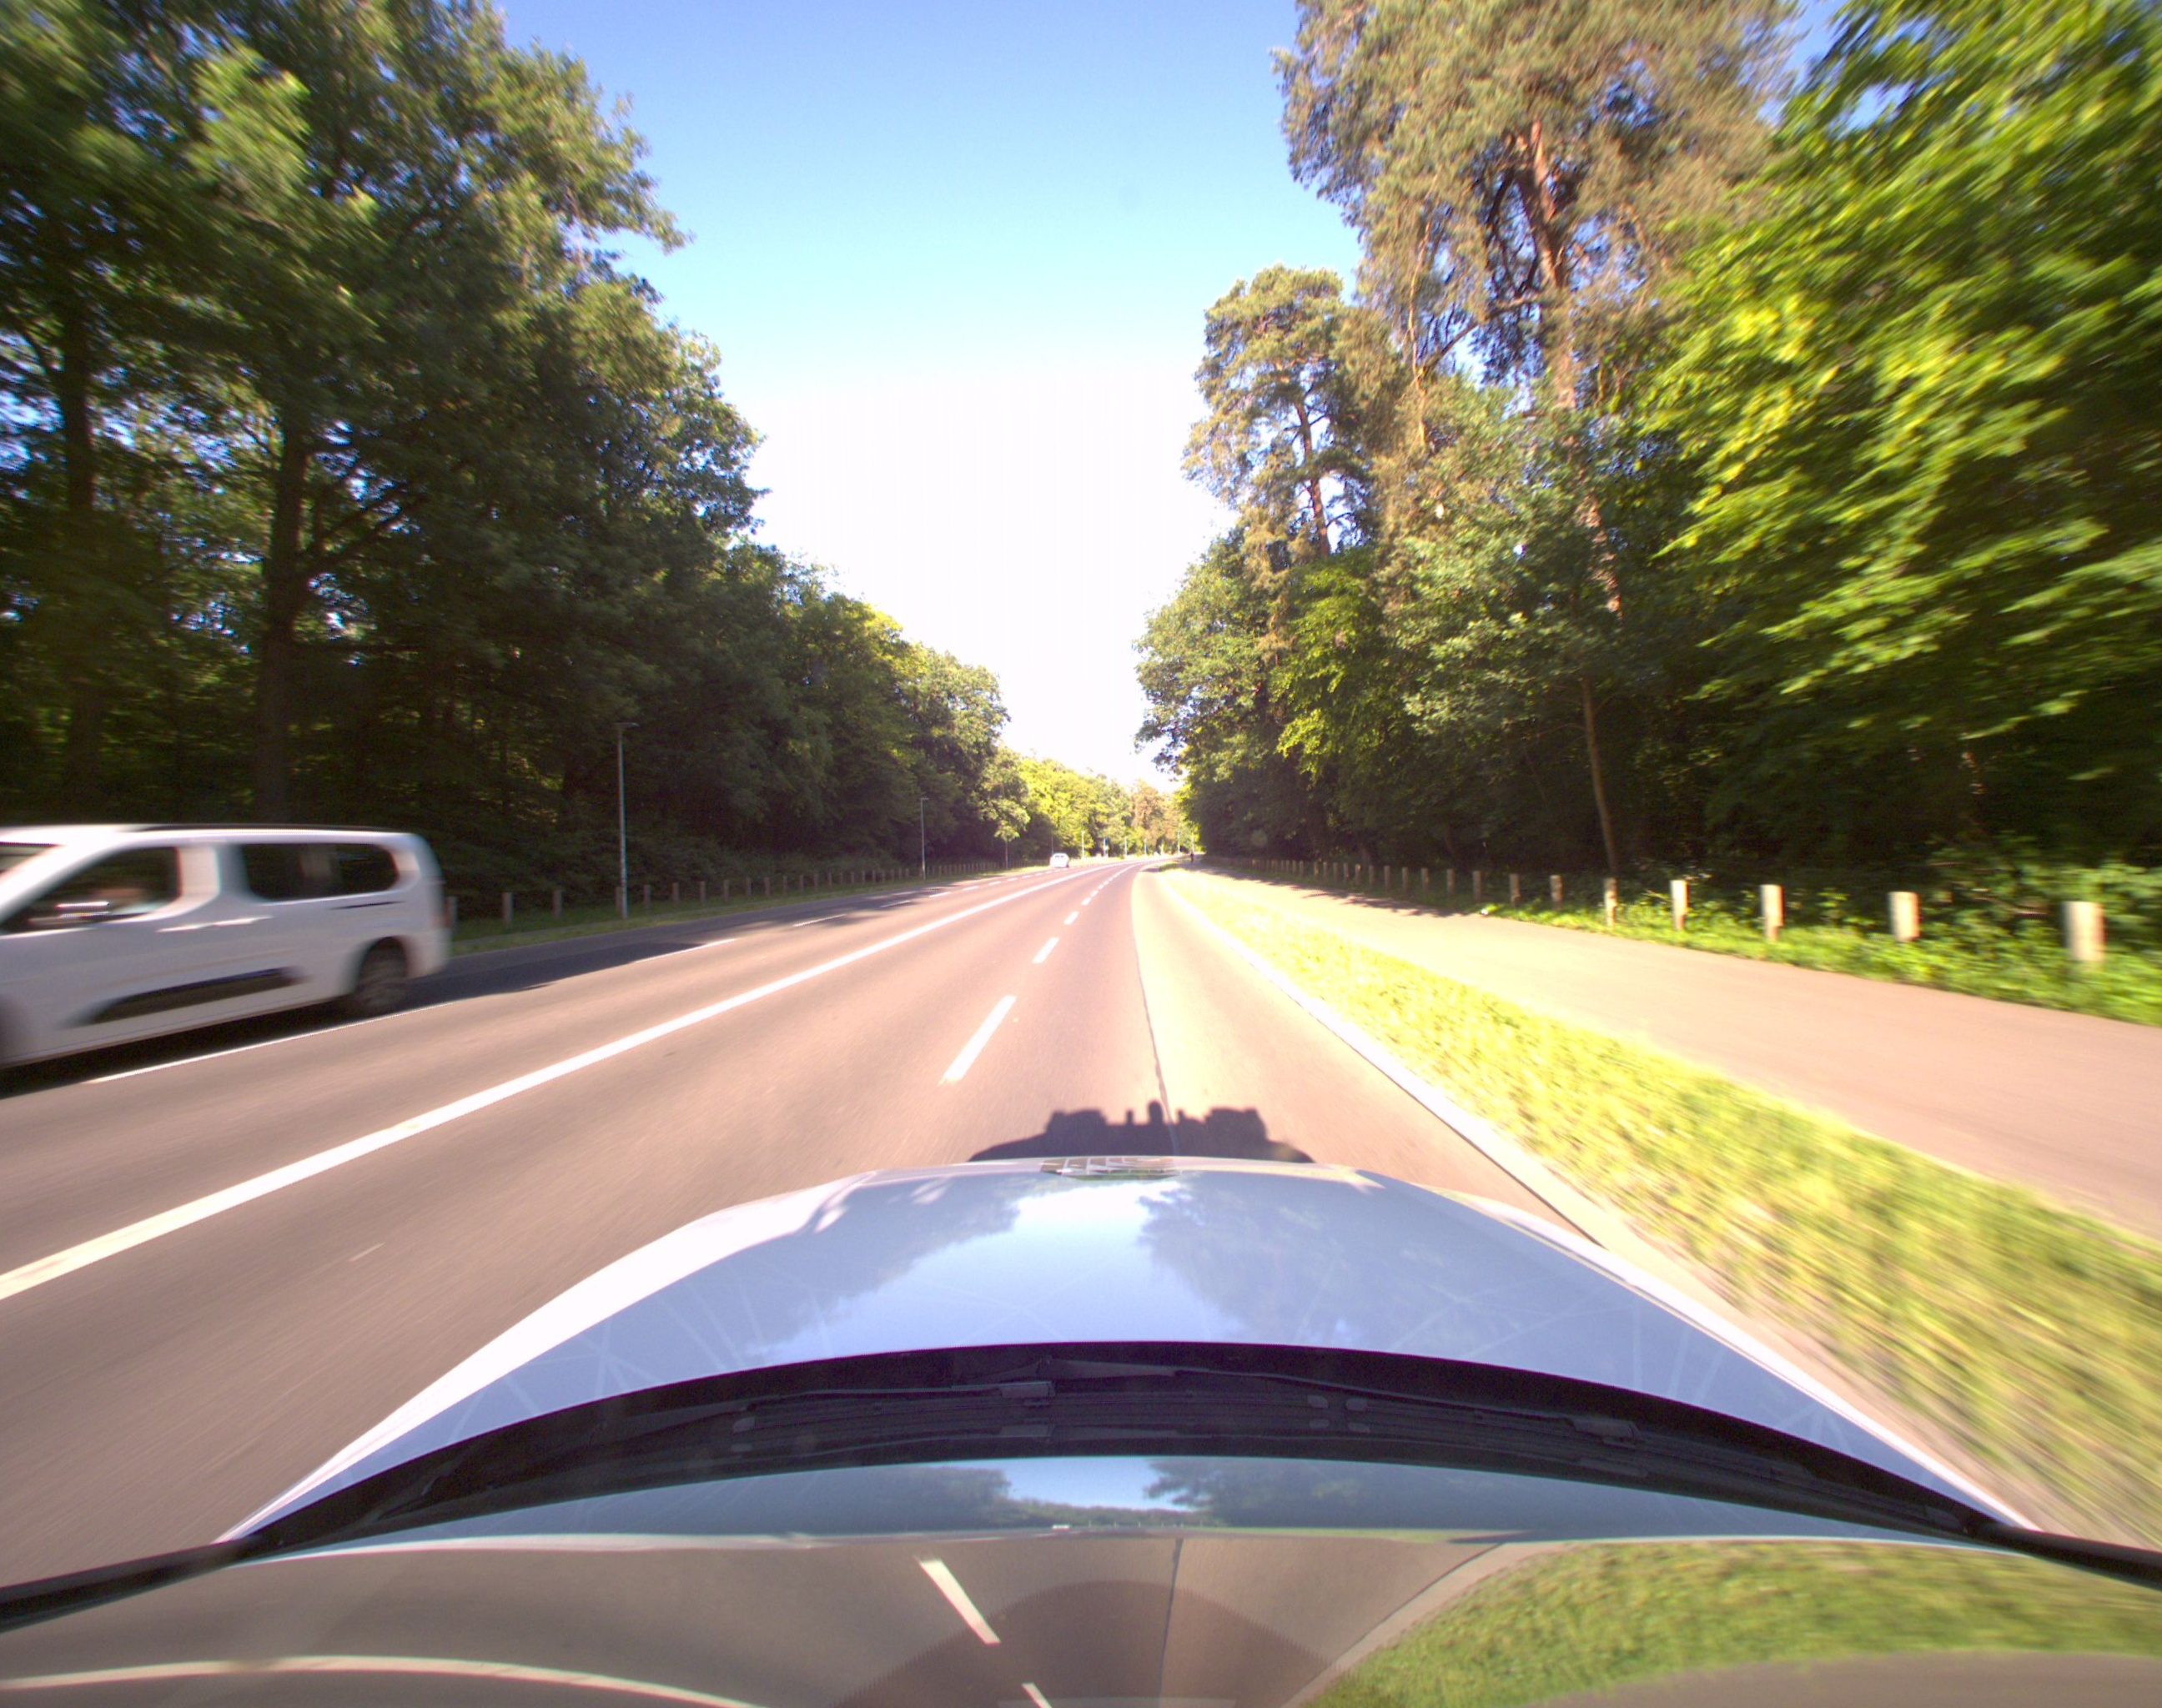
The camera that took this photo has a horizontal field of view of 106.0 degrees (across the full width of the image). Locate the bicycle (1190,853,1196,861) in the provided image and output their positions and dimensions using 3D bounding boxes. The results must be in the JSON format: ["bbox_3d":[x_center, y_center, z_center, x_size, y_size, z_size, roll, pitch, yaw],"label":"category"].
[{"bbox_3d":[14.302,0.355,104.388,0.708,1.056,2.057,-1,0,7],"label":"bicycle"}]

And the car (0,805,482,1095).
[{"bbox_3d":[-7.748,0.596,6.551,1.993,1.826,5.002,1,0,2],"label":"car"}]

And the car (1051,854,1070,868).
[{"bbox_3d":[-2.184,0.727,87.845,1.580,1.437,4.315,1,0,5],"label":"car"}]
